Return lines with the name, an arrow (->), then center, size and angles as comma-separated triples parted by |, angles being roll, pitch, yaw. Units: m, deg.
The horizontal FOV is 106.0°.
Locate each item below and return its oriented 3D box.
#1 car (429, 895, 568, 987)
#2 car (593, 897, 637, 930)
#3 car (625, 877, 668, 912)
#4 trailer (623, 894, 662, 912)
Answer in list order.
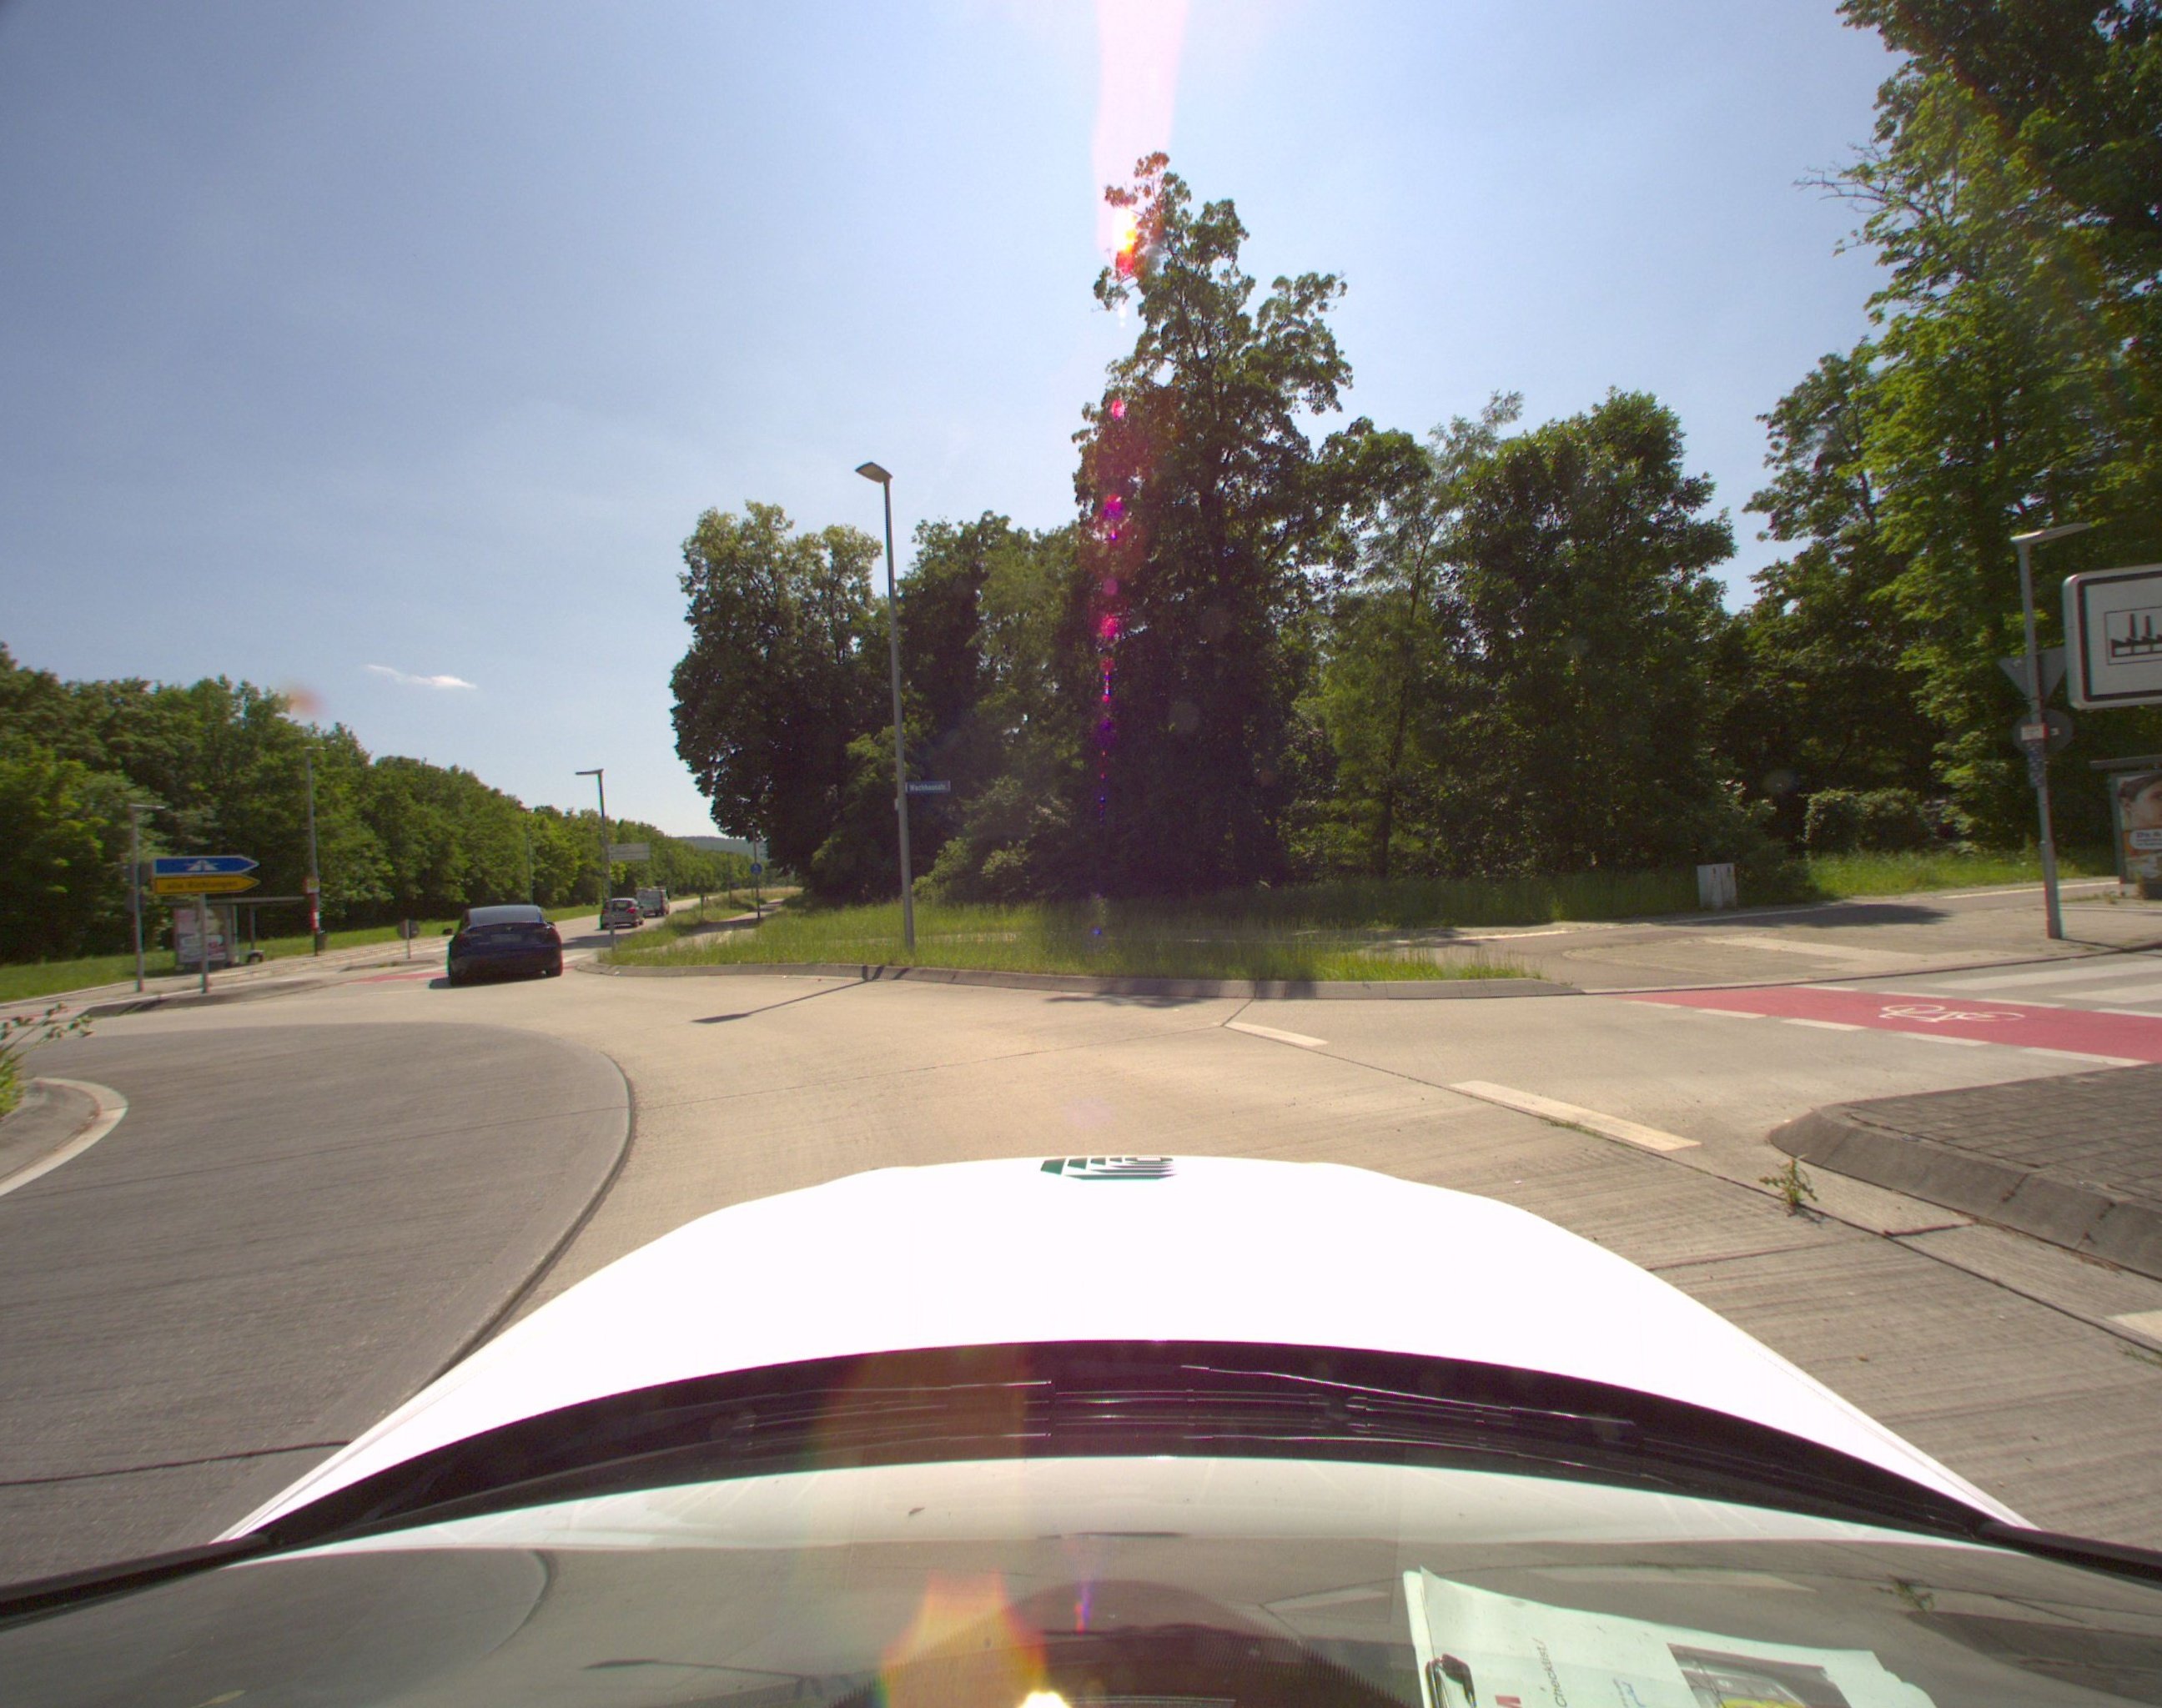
car -> -13.072, 1.832, 18.141 | 2.011, 1.640, 4.700 | -3, -1, -41
car -> -25.437, 3.222, 44.586 | 1.794, 1.607, 4.091 | -2, -2, -26
car -> -32.119, 2.982, 60.342 | 2.175, 2.316, 4.944 | -2, -2, -22
trailer -> -30.406, 3.398, 56.593 | 2.132, 1.097, 3.326 | -2, -2, -25
